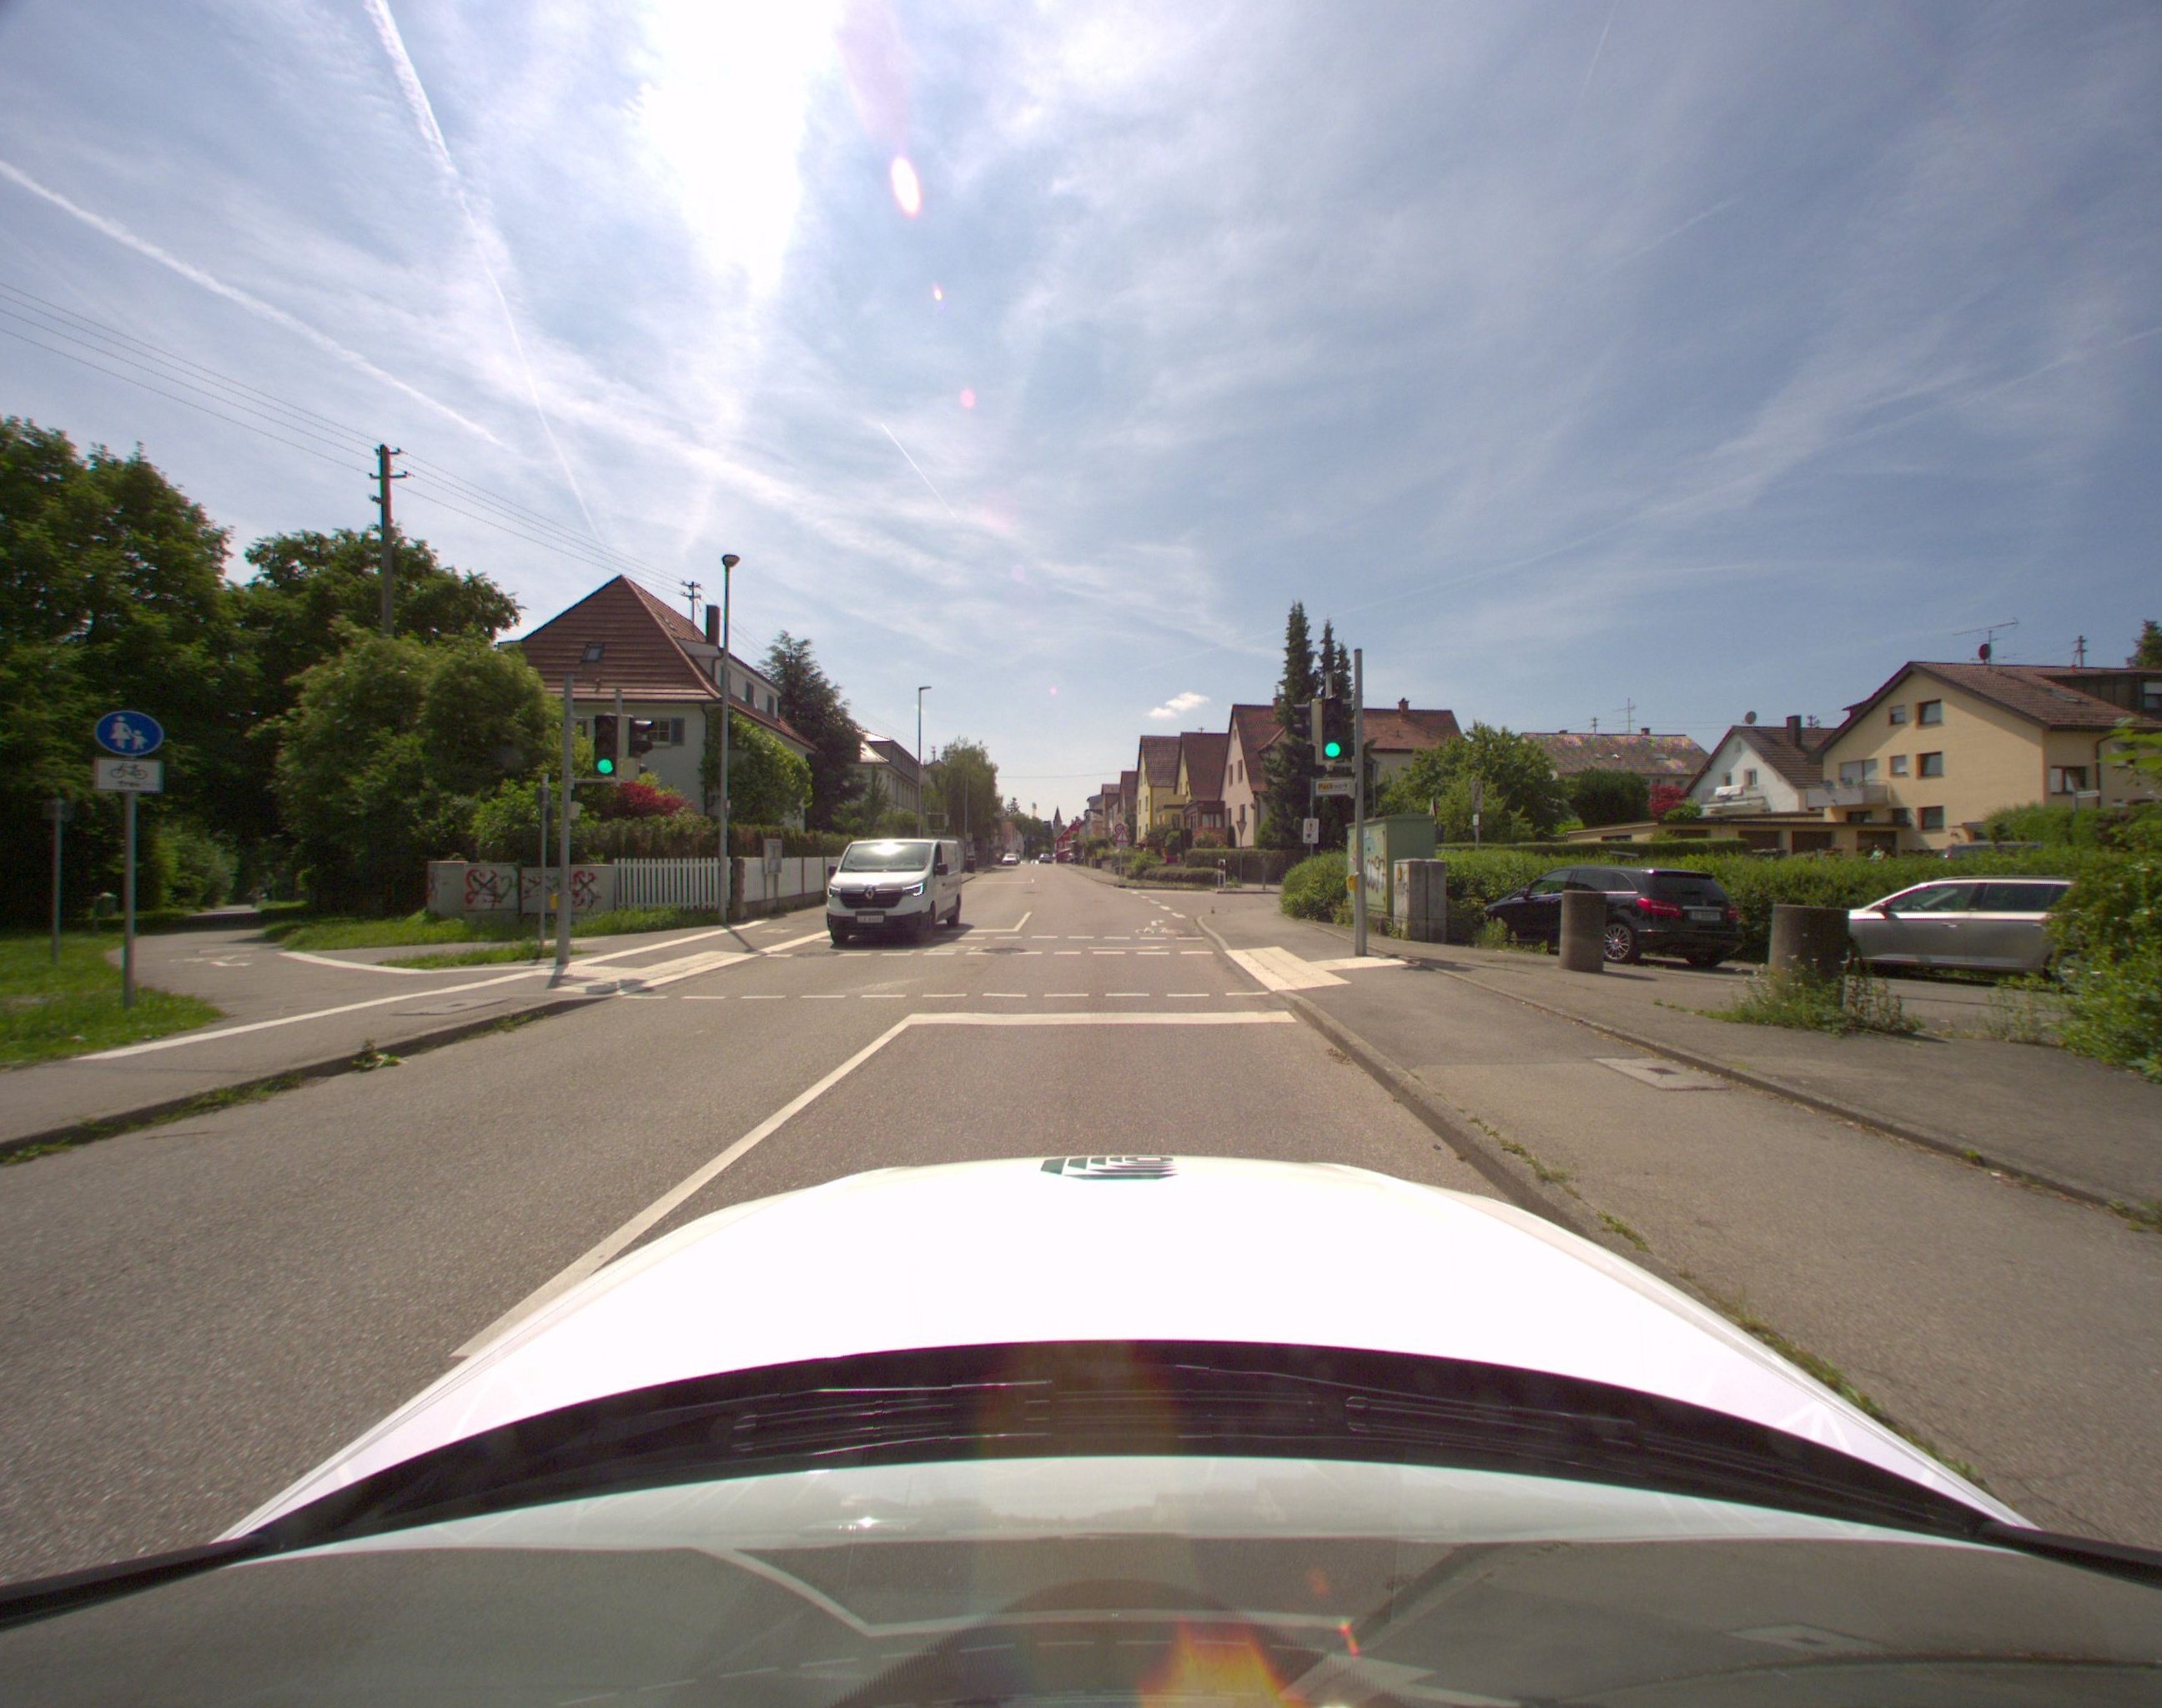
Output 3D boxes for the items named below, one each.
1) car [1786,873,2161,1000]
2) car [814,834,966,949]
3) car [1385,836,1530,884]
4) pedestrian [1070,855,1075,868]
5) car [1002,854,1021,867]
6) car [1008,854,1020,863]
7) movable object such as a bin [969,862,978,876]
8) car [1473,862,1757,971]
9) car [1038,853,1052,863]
[{"bbox_3d":[12.570,1.028,11.196,1.626,1.467,4.053,2,-3,-23],"label":"car"},{"bbox_3d":[-3.675,0.668,16.649,1.873,1.965,4.902,-1,0,0],"label":"car"},{"bbox_3d":[12.730,0.188,27.644,4.281,1.541,1.538,0,1,-3],"label":"car"},{"bbox_3d":[-1.103,0.963,106.128,0.645,1.729,0.608,-2,0,-4],"label":"pedestrian"},{"bbox_3d":[-8.929,0.825,104.526,2.104,1.560,4.313,0,0,0],"label":"car"},{"bbox_3d":[-11.630,0.774,140.449,1.990,1.560,4.306,0,-1,-5],"label":"car"},{"bbox_3d":[-8.296,1.138,63.004,0.606,1.046,0.724,1,1,-4],"label":"movable object such as a bin"},{"bbox_3d":[8.749,0.985,13.835,1.710,1.552,4.049,1,-2,-11],"label":"car"},{"bbox_3d":[-5.985,0.684,136.002,1.991,1.560,4.304,0,0,-7],"label":"car"}]
